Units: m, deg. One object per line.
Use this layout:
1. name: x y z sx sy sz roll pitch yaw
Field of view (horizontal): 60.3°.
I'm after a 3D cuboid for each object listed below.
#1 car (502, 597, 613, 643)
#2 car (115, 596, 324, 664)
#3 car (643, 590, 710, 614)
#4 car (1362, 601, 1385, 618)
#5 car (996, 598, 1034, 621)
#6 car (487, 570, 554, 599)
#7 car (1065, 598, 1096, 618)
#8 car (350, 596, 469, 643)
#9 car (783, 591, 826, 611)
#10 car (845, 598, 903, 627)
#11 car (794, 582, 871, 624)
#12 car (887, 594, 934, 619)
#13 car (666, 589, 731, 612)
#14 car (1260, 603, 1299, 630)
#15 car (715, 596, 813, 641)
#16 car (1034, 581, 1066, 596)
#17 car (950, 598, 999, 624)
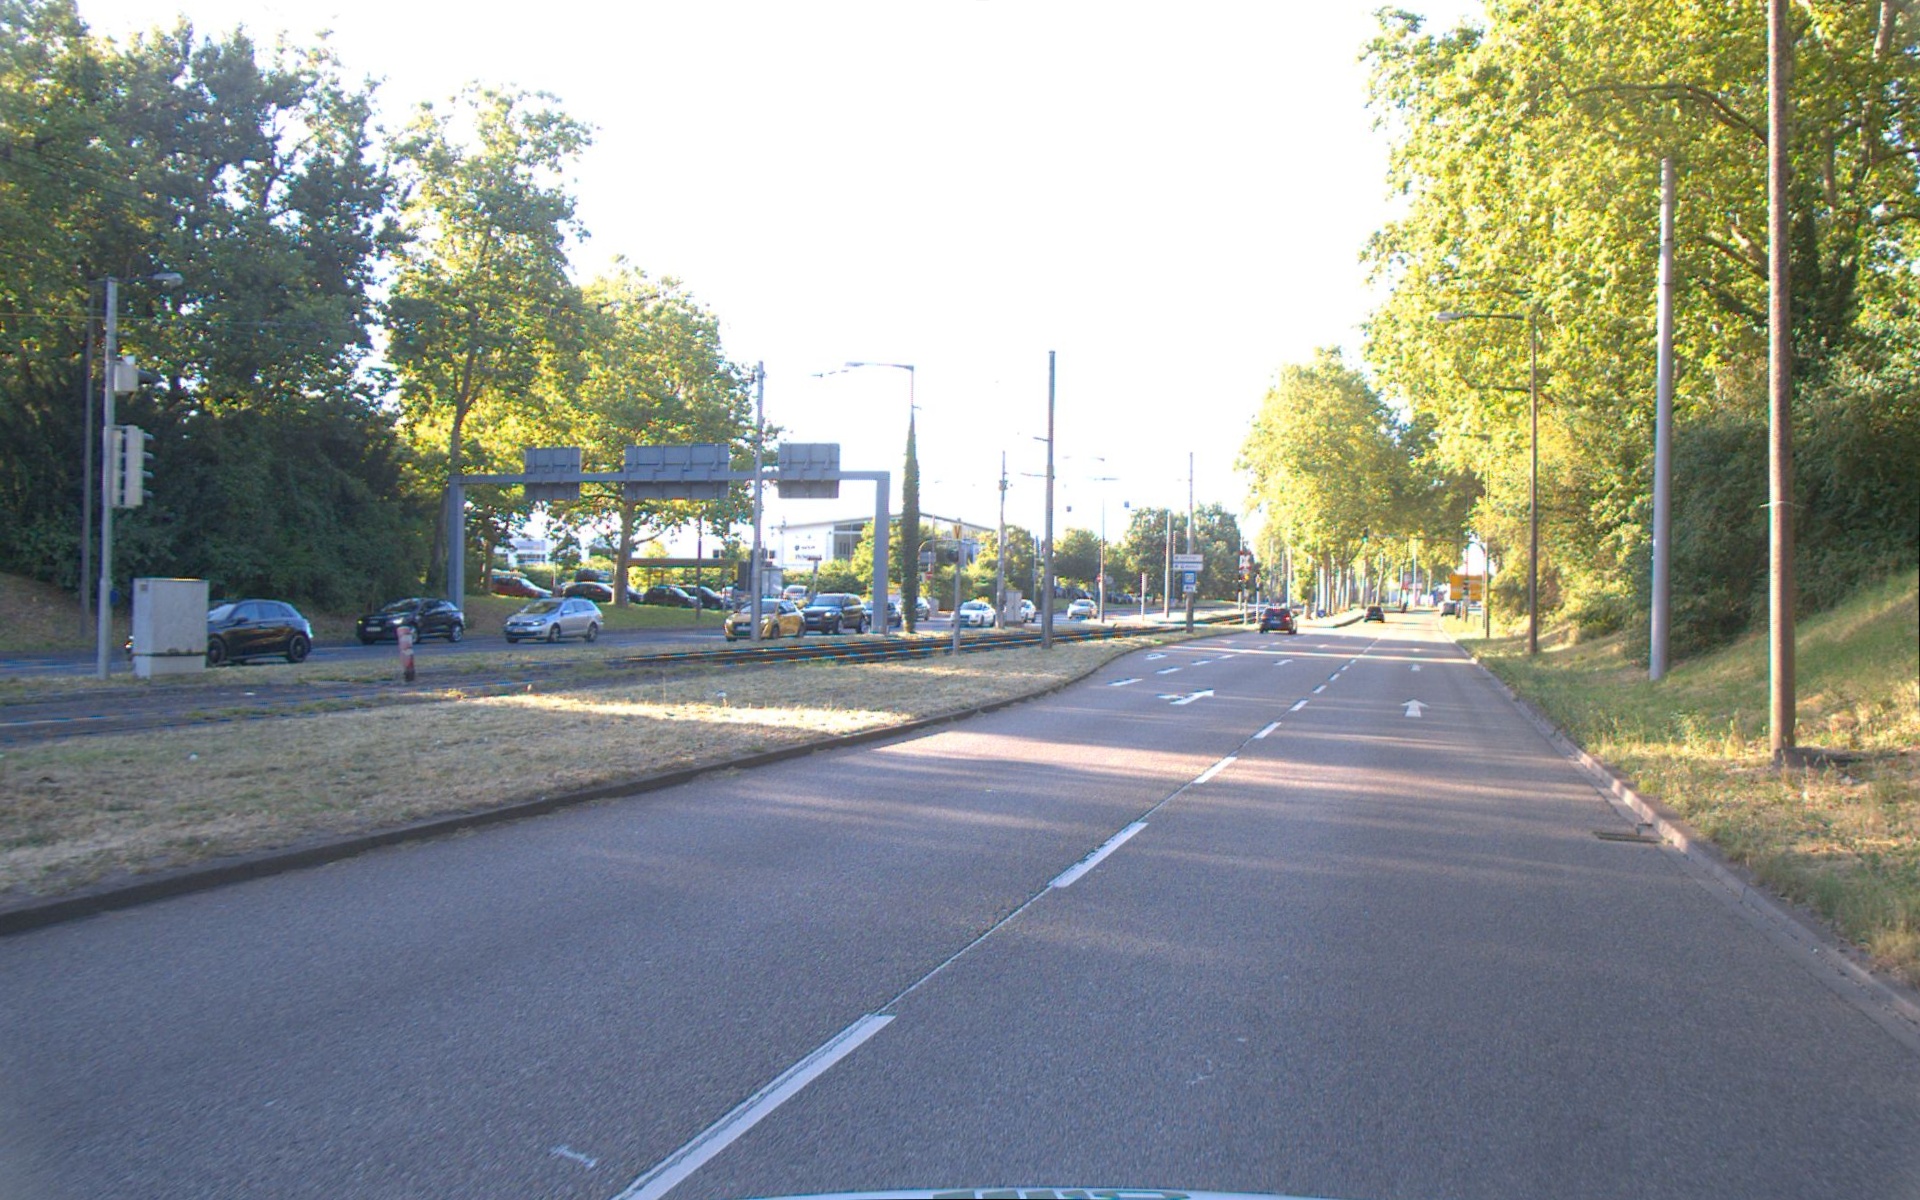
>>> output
1. car: -13.641 0.677 56.312 1.651 1.440 4.440 2 0 16
2. car: -15.870 0.641 35.694 1.651 1.333 4.311 1 -1 18
3. car: -18.747 0.114 109.356 3.973 1.411 1.784 2 0 22
4. car: 36.698 0.874 146.796 1.755 1.427 3.691 2 0 17
5. car: 3.668 0.617 109.032 1.618 1.440 4.262 2 0 14
6. car: -29.886 -1.047 112.497 3.904 1.892 2.001 1 0 19
7. car: 9.398 0.628 128.816 1.618 1.440 4.261 2 0 15
8. car: -17.966 0.634 54.209 1.650 1.440 4.195 2 0 14
9. car: -12.023 0.083 128.180 1.803 1.467 4.001 2 0 18
10. car: -4.662 0.687 90.348 1.799 1.507 4.439 2 0 15
11. car: -5.456 0.152 71.442 1.800 1.683 4.438 2 0 16
12. car: -3.186 0.436 107.238 1.799 1.507 4.603 2 0 15
13. car: -17.819 0.059 112.554 3.973 1.411 1.784 2 0 22
14. car: 17.383 0.897 89.897 1.754 1.427 3.691 -1 -1 17
15. car: -6.594 0.624 56.034 1.800 1.440 4.020 1 -1 17
16. car: 9.369 -1.194 171.455 3.075 1.416 1.457 2 0 12
17. car: 0.857 0.657 95.616 1.799 1.440 4.603 1 0 14
